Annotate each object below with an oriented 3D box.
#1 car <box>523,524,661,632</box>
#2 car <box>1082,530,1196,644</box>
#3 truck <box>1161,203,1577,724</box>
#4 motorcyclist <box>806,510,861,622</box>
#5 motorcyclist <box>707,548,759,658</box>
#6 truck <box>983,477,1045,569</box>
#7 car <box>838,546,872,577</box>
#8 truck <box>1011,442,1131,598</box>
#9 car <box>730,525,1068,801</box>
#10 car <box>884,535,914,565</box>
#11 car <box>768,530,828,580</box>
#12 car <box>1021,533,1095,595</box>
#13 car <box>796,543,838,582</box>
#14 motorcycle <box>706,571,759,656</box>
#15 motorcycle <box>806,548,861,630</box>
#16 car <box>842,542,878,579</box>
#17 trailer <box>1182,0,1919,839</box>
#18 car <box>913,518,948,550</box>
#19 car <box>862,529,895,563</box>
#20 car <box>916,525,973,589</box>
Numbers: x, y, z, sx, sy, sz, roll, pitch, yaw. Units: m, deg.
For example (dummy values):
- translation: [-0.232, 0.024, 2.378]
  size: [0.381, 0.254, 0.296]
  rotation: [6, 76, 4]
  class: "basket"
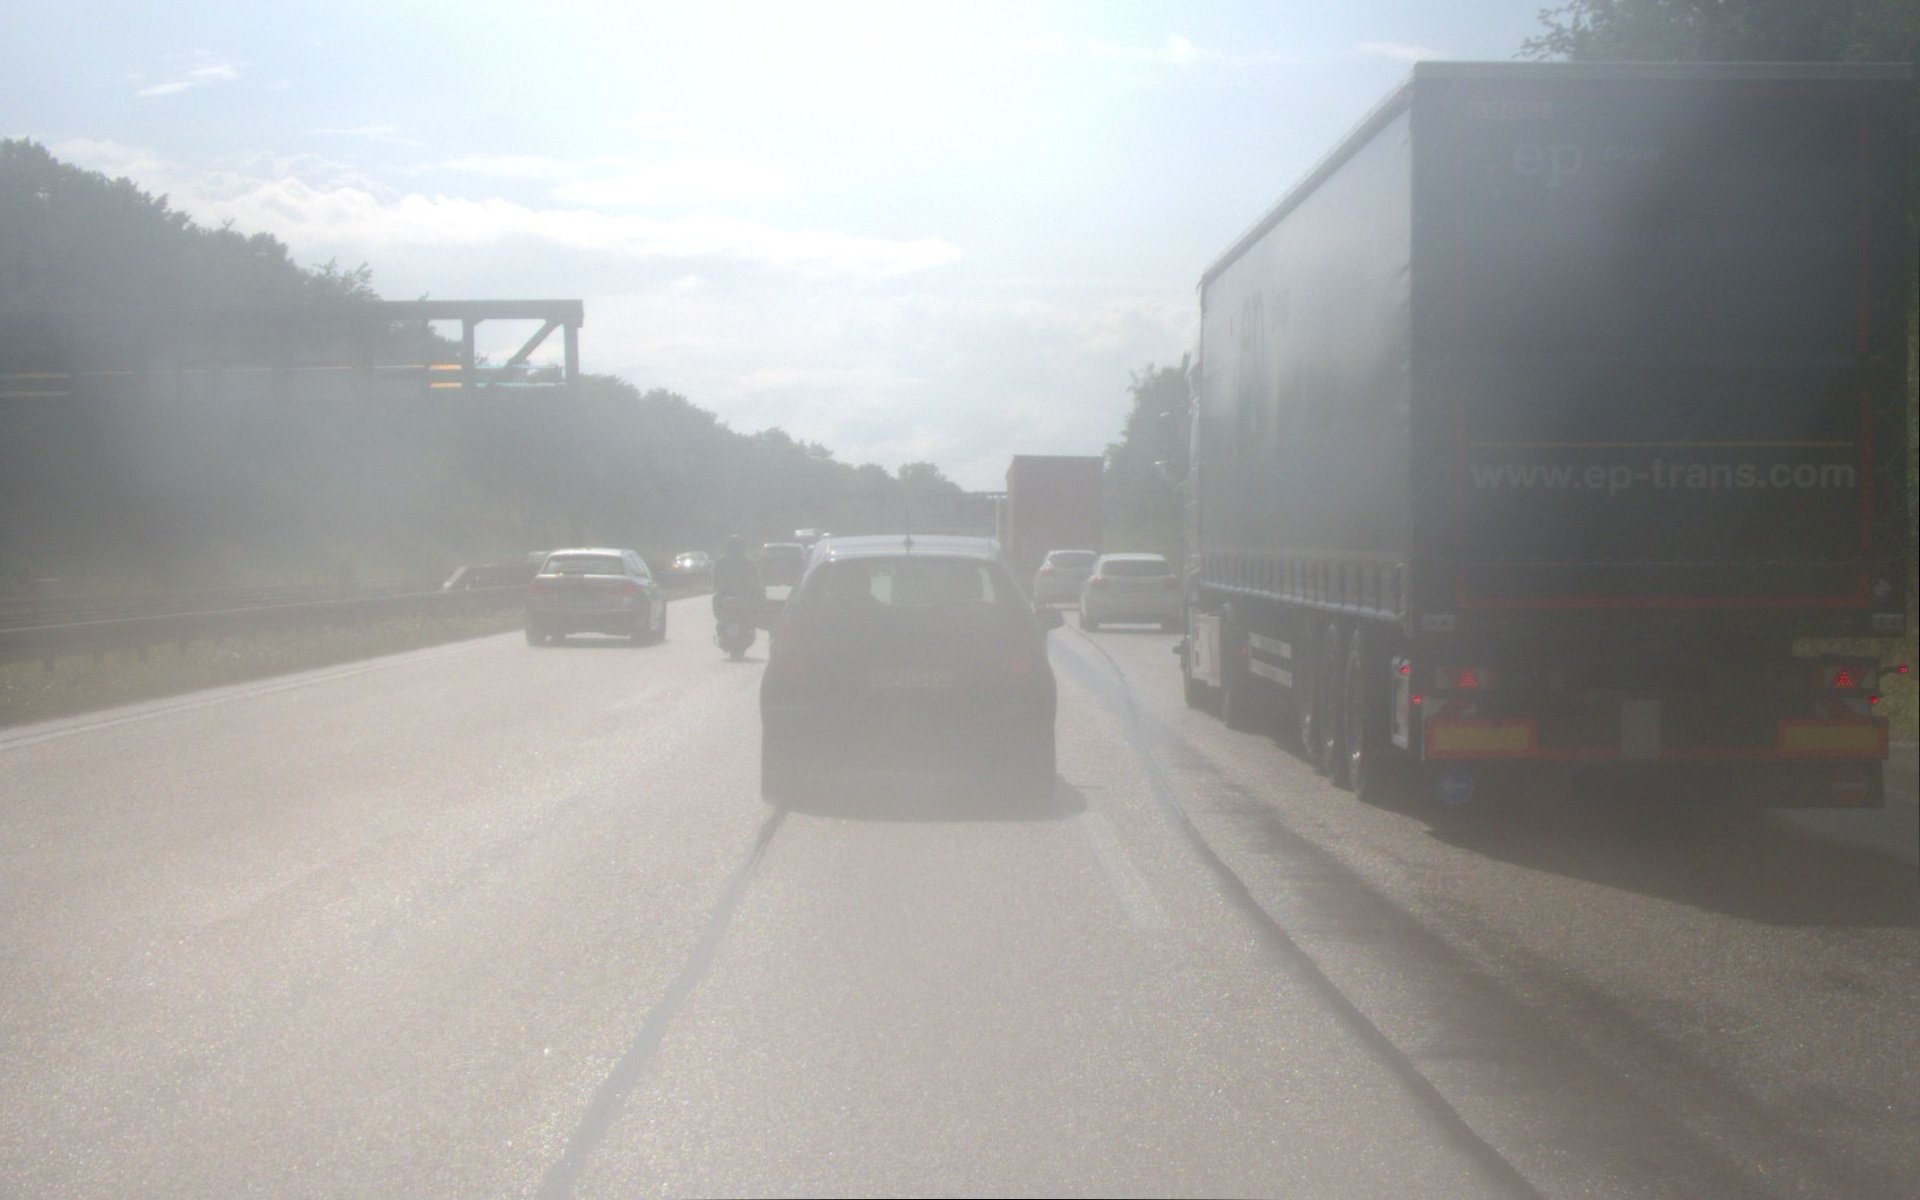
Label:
- translation: [-5.678, -0.361, 53.445]
  size: [1.758, 1.589, 4.331]
  rotation: [0, 1, -1]
  class: "car"
- translation: [3.264, -0.246, 63.261]
  size: [1.849, 2.007, 4.087]
  rotation: [1, 1, 0]
  class: "car"
- translation: [3.582, -1.171, 31.615]
  size: [3.052, 4.310, 5.886]
  rotation: [1, 1, 0]
  class: "truck"
- translation: [-2.013, -0.539, 54.379]
  size: [0.821, 1.754, 1.390]
  rotation: [1, 0, -3]
  class: "motorcyclist"
- translation: [-3.022, 0.034, 45.750]
  size: [0.670, 1.437, 1.020]
  rotation: [1, 0, -4]
  class: "motorcyclist"
- translation: [2.801, -3.985, 182.010]
  size: [2.882, 4.671, 12.659]
  rotation: [1, 1, -1]
  class: "truck"
- translation: [-5.218, -1.914, 171.028]
  size: [1.675, 1.485, 3.437]
  rotation: [0, 1, -1]
  class: "car"
- translation: [3.218, -2.348, 102.465]
  size: [3.202, 4.389, 9.433]
  rotation: [0, 1, 0]
  class: "truck"
- translation: [-0.388, 0.323, 21.762]
  size: [1.915, 1.560, 4.314]
  rotation: [0, 1, -1]
  class: "car"
- translation: [-4.153, -3.421, 234.365]
  size: [1.993, 2.007, 4.000]
  rotation: [1, 1, -1]
  class: "car"
- translation: [-5.390, -1.497, 114.751]
  size: [1.893, 1.622, 4.195]
  rotation: [0, 1, -1]
  class: "car"
- translation: [2.396, -0.905, 84.687]
  size: [1.675, 1.485, 3.437]
  rotation: [0, 1, -1]
  class: "car"
- translation: [-6.012, -1.596, 144.859]
  size: [1.675, 1.591, 3.437]
  rotation: [0, 1, -1]
  class: "car"
- translation: [-3.025, 0.165, 45.773]
  size: [0.676, 1.083, 1.982]
  rotation: [1, 1, -4]
  class: "motorcycle"
- translation: [-2.013, -0.185, 54.459]
  size: [0.819, 1.258, 2.118]
  rotation: [1, 1, -3]
  class: "motorcycle"
- translation: [-5.660, -2.240, 194.641]
  size: [1.993, 2.007, 4.000]
  rotation: [1, 1, -1]
  class: "car"
- translation: [3.594, -1.063, 24.412]
  size: [3.088, 4.298, 14.105]
  rotation: [0, 1, 0]
  class: "trailer"
- translation: [-1.433, -3.143, 164.178]
  size: [1.631, 1.485, 3.437]
  rotation: [0, 1, -1]
  class: "car"
- translation: [-4.992, -3.312, 210.575]
  size: [1.993, 2.007, 4.000]
  rotation: [1, 1, -1]
  class: "car"
- translation: [-0.496, -1.340, 106.717]
  size: [1.675, 1.929, 3.774]
  rotation: [0, 1, -1]
  class: "car"
